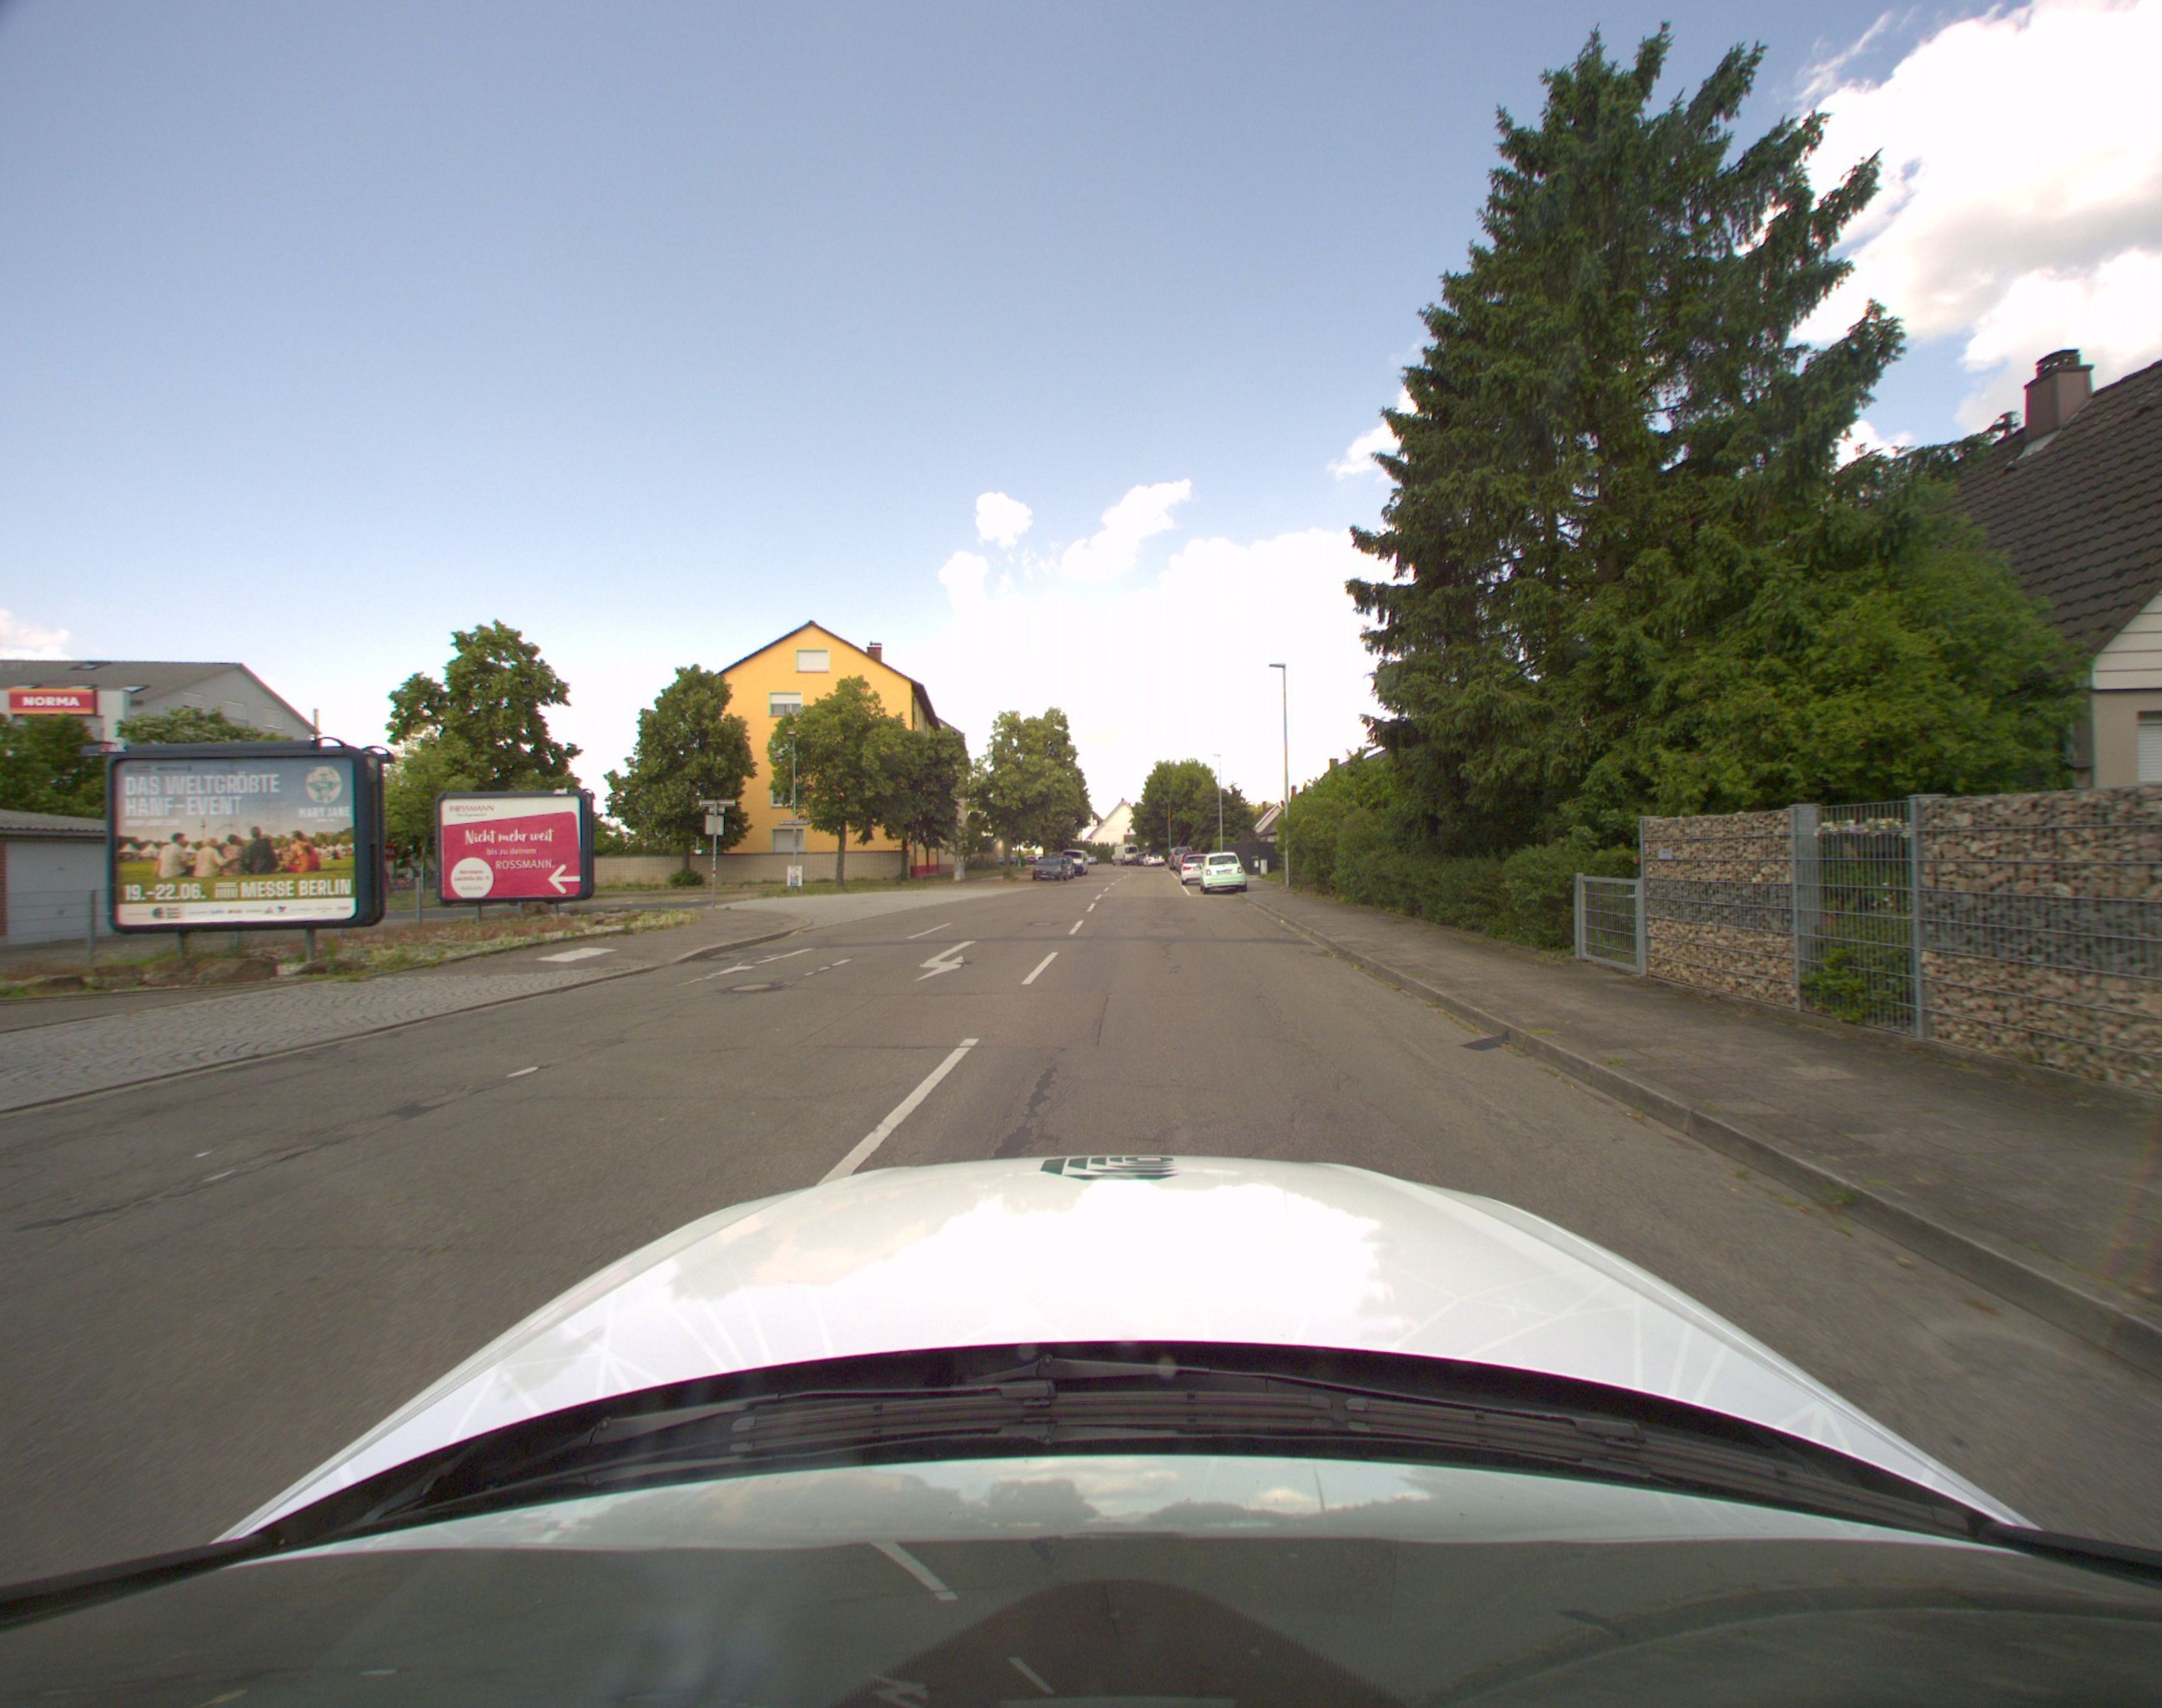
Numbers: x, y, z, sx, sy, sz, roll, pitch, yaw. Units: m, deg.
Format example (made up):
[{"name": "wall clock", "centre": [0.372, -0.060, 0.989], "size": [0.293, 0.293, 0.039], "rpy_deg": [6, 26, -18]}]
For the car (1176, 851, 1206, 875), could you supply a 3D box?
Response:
[{"name": "car", "centre": [7.560, 0.608, 56.421], "size": [1.841, 1.579, 4.739], "rpy_deg": [-1, 0, 5]}]

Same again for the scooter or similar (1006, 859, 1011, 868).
[{"name": "scooter or similar", "centre": [-9.189, 1.169, 103.221], "size": [0.420, 1.165, 1.134], "rpy_deg": [0, 0, -16]}]

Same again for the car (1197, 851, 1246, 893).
[{"name": "car", "centre": [5.376, 0.664, 31.488], "size": [1.573, 1.520, 3.761], "rpy_deg": [-1, 0, 5]}]

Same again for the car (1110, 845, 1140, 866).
[{"name": "car", "centre": [5.361, 0.207, 99.205], "size": [2.119, 2.441, 5.869], "rpy_deg": [-1, 0, -12]}]

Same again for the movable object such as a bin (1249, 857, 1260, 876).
[{"name": "movable object such as a bin", "centre": [9.684, 0.708, 45.513], "size": [0.513, 1.039, 0.631], "rpy_deg": [-1, 0, 5]}]

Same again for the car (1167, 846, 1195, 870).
[{"name": "car", "centre": [8.450, 0.331, 69.357], "size": [1.835, 1.944, 4.878], "rpy_deg": [-3, 0, 2]}]

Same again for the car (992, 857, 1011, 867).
[{"name": "car", "centre": [-11.915, 1.235, 122.503], "size": [1.792, 1.458, 4.406], "rpy_deg": [3, -2, -19]}]

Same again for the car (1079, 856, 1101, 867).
[{"name": "car", "centre": [1.267, 1.031, 113.536], "size": [1.742, 1.457, 4.338], "rpy_deg": [-1, 0, -18]}]

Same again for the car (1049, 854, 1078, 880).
[{"name": "car", "centre": [-1.148, 0.867, 55.714], "size": [1.510, 1.549, 3.760], "rpy_deg": [4, 1, 4]}]

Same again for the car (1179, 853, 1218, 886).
[{"name": "car", "centre": [5.604, 0.694, 38.769], "size": [1.711, 1.486, 3.758], "rpy_deg": [-1, 0, 8]}]

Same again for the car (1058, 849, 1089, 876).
[{"name": "car", "centre": [-0.513, 0.631, 64.130], "size": [1.870, 2.009, 5.330], "rpy_deg": [2, 0, 5]}]

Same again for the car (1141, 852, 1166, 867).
[{"name": "car", "centre": [7.606, 0.537, 85.942], "size": [1.738, 1.512, 4.448], "rpy_deg": [-1, 0, -6]}]

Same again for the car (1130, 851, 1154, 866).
[{"name": "car", "centre": [6.914, 0.518, 92.771], "size": [1.719, 1.585, 4.107], "rpy_deg": [-1, 0, -12]}]

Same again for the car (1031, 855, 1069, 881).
[{"name": "car", "centre": [-1.845, 0.854, 49.414], "size": [1.675, 1.486, 3.991], "rpy_deg": [2, -1, 7]}]

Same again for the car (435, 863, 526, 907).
[{"name": "car", "centre": [-25.948, 1.304, 35.364], "size": [1.648, 1.591, 3.885], "rpy_deg": [-2, 2, -12]}]
